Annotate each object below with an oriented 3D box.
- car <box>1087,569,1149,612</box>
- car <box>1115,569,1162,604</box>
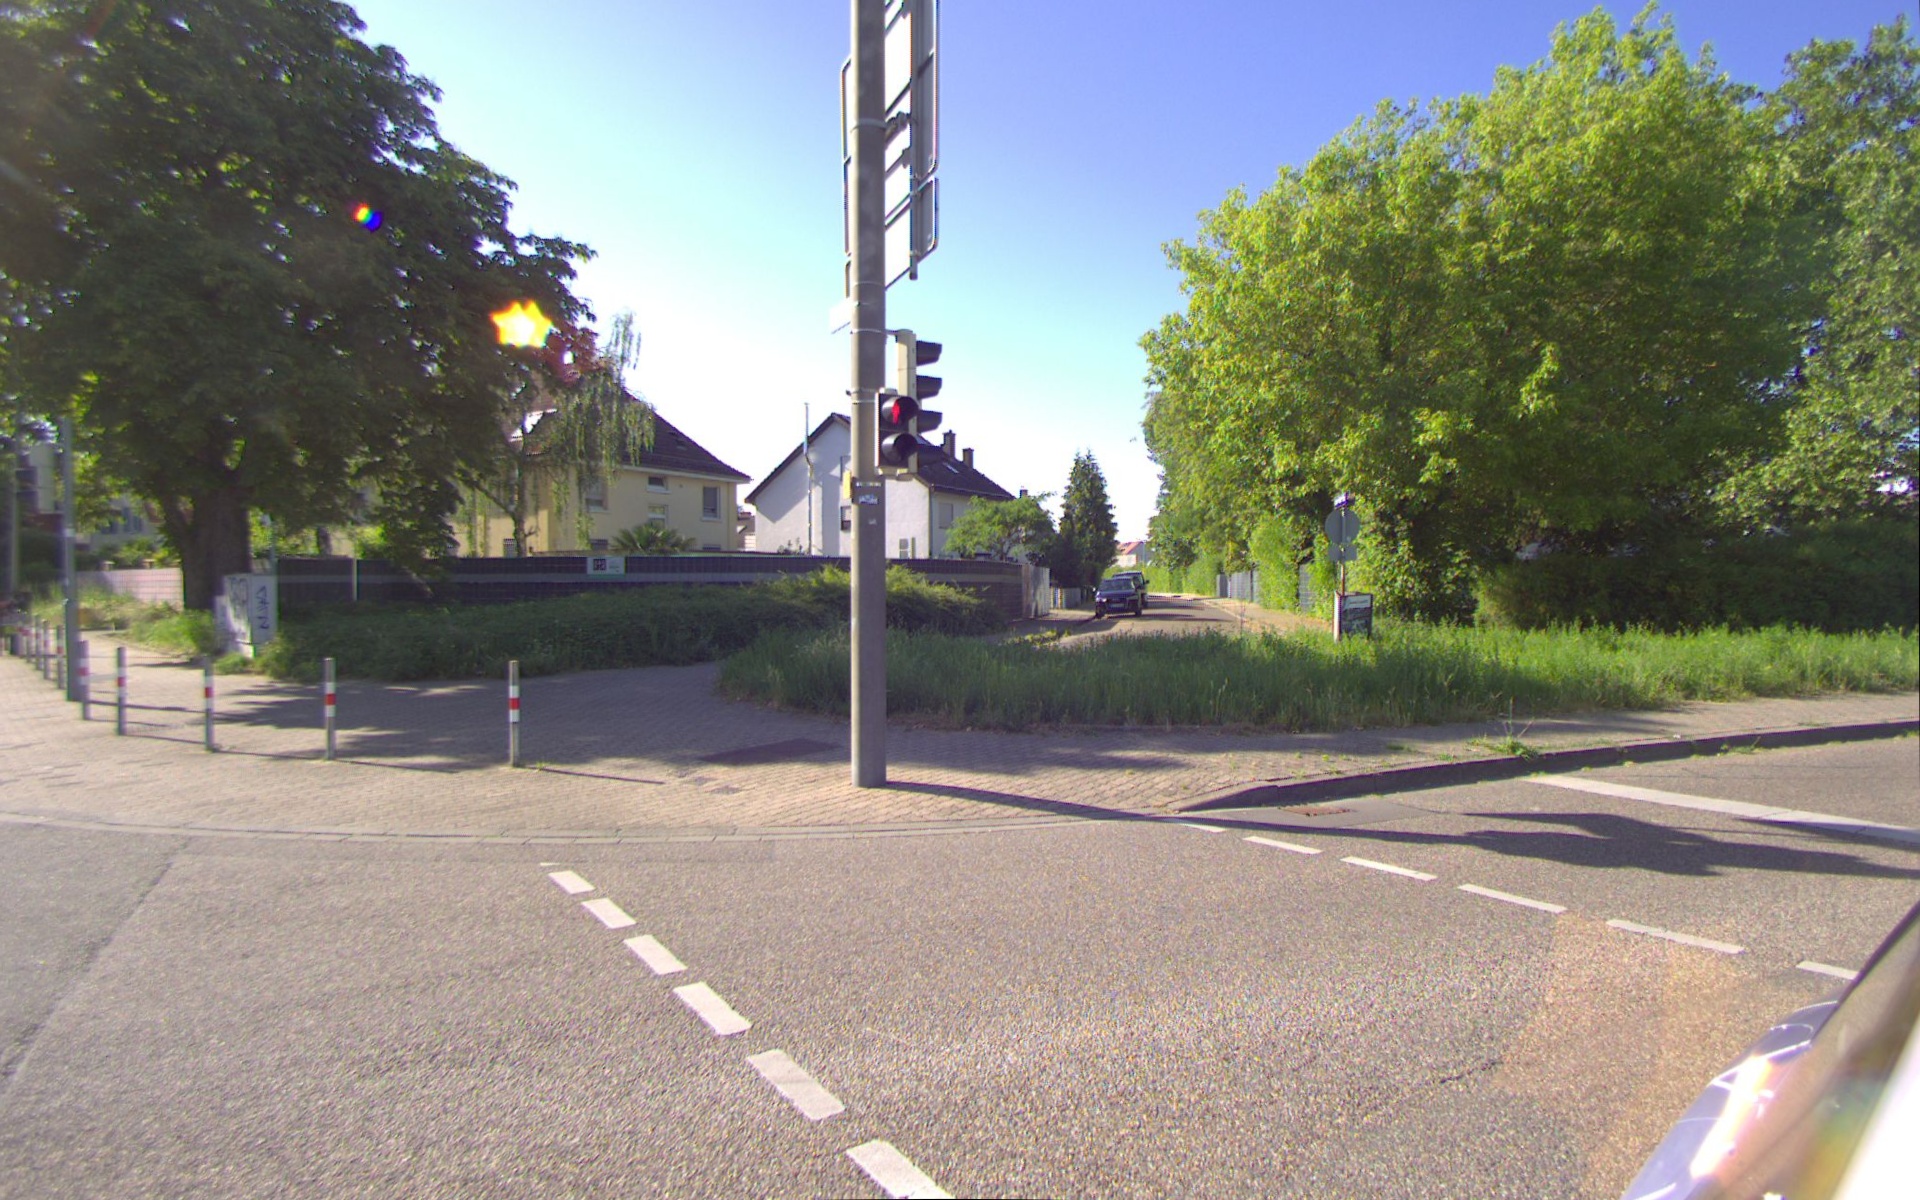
[{"bbox_3d":[6.356,-0.386,40.514,1.972,1.576,3.981,-1,1,16],"label":"car"},{"bbox_3d":[9.256,-0.692,52.191,1.936,1.687,3.981,-2,0,16],"label":"car"}]
